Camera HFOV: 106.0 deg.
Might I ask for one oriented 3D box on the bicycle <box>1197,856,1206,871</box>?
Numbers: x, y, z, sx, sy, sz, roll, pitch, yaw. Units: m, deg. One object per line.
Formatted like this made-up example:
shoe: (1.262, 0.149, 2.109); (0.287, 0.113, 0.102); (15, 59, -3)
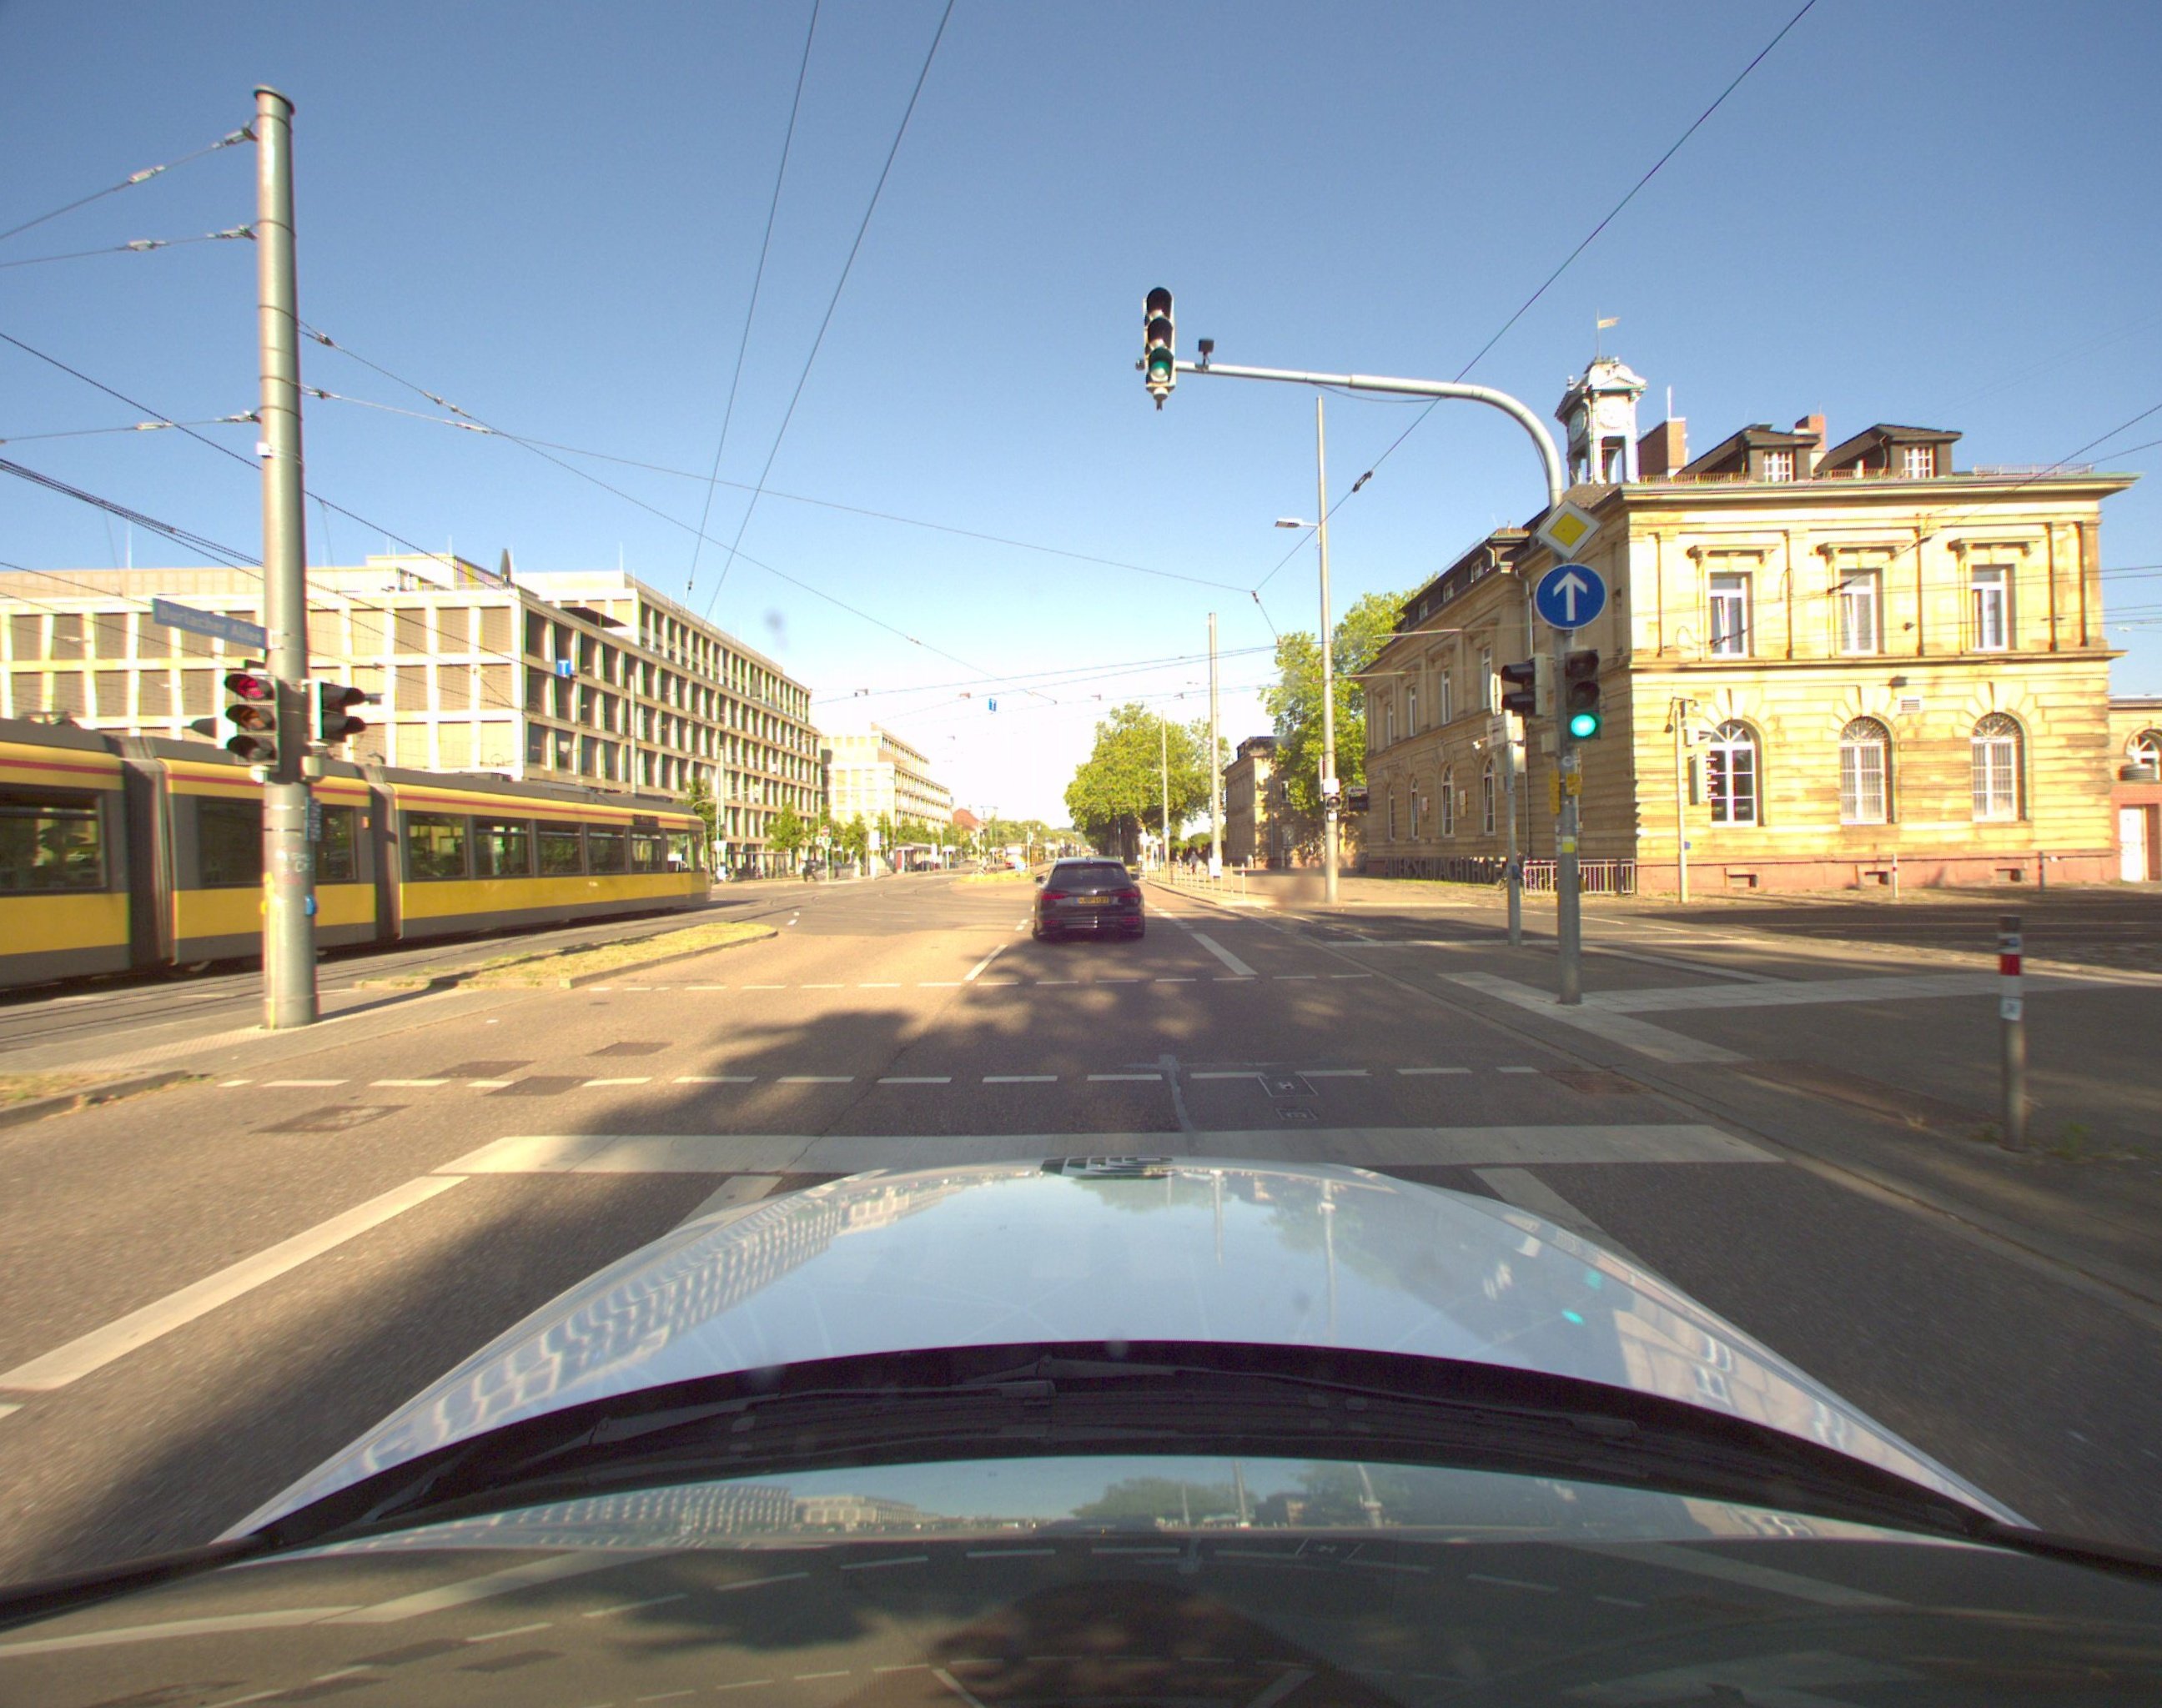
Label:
bicycle: (9.097, 0.703, 61.637); (0.433, 1.145, 1.340); (-1, 0, -1)

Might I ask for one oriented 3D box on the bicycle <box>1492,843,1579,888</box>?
bicycle: (13.540, 0.338, 24.283); (2.130, 1.209, 0.765); (-3, 0, -1)

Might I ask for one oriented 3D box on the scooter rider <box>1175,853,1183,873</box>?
scooter rider: (6.807, 0.636, 56.708); (0.483, 1.385, 0.377); (-2, -1, -1)

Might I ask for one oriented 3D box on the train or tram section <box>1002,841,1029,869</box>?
train or tram section: (-8.548, 0.123, 107.201); (2.601, 3.451, 11.128); (-1, 0, -1)

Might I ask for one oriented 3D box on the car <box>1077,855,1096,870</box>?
car: (0.617, 0.901, 86.244); (1.896, 1.486, 4.146); (-1, 0, 1)

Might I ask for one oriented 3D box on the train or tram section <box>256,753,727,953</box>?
train or tram section: (-13.130, -0.009, 20.571); (2.803, 3.489, 12.156); (-1, 0, 1)

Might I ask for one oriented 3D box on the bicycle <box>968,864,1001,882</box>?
bicycle: (-6.475, 1.255, 54.576); (2.012, 1.108, 0.759); (-1, 0, -21)

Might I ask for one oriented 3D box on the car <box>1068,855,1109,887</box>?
car: (0.410, 0.789, 39.852); (1.896, 1.486, 4.146); (-1, 0, 1)

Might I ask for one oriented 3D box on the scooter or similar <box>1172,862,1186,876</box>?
scooter or similar: (6.811, 1.051, 56.700); (0.936, 0.966, 0.361); (-2, -1, -2)

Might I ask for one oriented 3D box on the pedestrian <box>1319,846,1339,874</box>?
pedestrian: (16.610, 0.385, 54.453); (0.979, 1.865, 0.823); (-1, 0, -11)

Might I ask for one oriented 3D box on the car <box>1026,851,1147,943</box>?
car: (0.144, 0.680, 15.039); (1.896, 1.421, 4.146); (-1, 0, 1)

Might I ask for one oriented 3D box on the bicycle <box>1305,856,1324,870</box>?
bicycle: (18.022, 0.656, 62.904); (0.525, 1.047, 2.353); (-1, 0, -7)

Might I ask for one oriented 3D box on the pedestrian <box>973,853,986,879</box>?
pedestrian: (-7.009, 0.832, 56.259); (0.741, 1.741, 0.660); (-1, 0, -17)

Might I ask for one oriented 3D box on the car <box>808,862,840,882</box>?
car: (-25.577, 1.777, 81.292); (1.836, 1.812, 4.112); (-1, 0, 0)

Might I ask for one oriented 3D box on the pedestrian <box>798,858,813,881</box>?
pedestrian: (-18.991, 1.086, 56.199); (0.753, 1.532, 0.625); (-1, 0, 4)

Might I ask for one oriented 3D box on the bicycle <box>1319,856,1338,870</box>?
bicycle: (19.083, 0.659, 62.876); (0.525, 1.047, 2.353); (-1, 0, -7)

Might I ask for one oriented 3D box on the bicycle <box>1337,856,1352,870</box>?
bicycle: (20.477, 0.674, 63.397); (0.524, 1.047, 2.232); (-1, 0, 2)

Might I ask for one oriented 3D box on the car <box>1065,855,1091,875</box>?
car: (-0.209, 0.824, 63.276); (1.896, 1.486, 4.146); (-1, 0, 1)

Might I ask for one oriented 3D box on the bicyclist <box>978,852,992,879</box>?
bicyclist: (-6.455, 0.762, 54.684); (0.759, 1.818, 0.759); (-1, 0, -20)

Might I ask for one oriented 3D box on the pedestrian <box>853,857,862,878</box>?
pedestrian: (-18.411, 1.101, 67.126); (0.620, 1.664, 0.510); (-1, 0, -24)

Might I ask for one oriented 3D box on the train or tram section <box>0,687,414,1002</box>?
train or tram section: (-13.381, -0.080, 7.831); (2.803, 3.489, 13.206); (-1, 0, 1)

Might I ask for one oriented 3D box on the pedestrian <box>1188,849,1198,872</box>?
pedestrian: (8.470, 0.493, 61.617); (0.680, 1.660, 0.758); (-1, 0, -1)

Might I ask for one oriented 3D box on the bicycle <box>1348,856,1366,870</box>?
bicycle: (21.539, 0.681, 63.600); (0.525, 1.047, 2.228); (-1, 0, -3)
